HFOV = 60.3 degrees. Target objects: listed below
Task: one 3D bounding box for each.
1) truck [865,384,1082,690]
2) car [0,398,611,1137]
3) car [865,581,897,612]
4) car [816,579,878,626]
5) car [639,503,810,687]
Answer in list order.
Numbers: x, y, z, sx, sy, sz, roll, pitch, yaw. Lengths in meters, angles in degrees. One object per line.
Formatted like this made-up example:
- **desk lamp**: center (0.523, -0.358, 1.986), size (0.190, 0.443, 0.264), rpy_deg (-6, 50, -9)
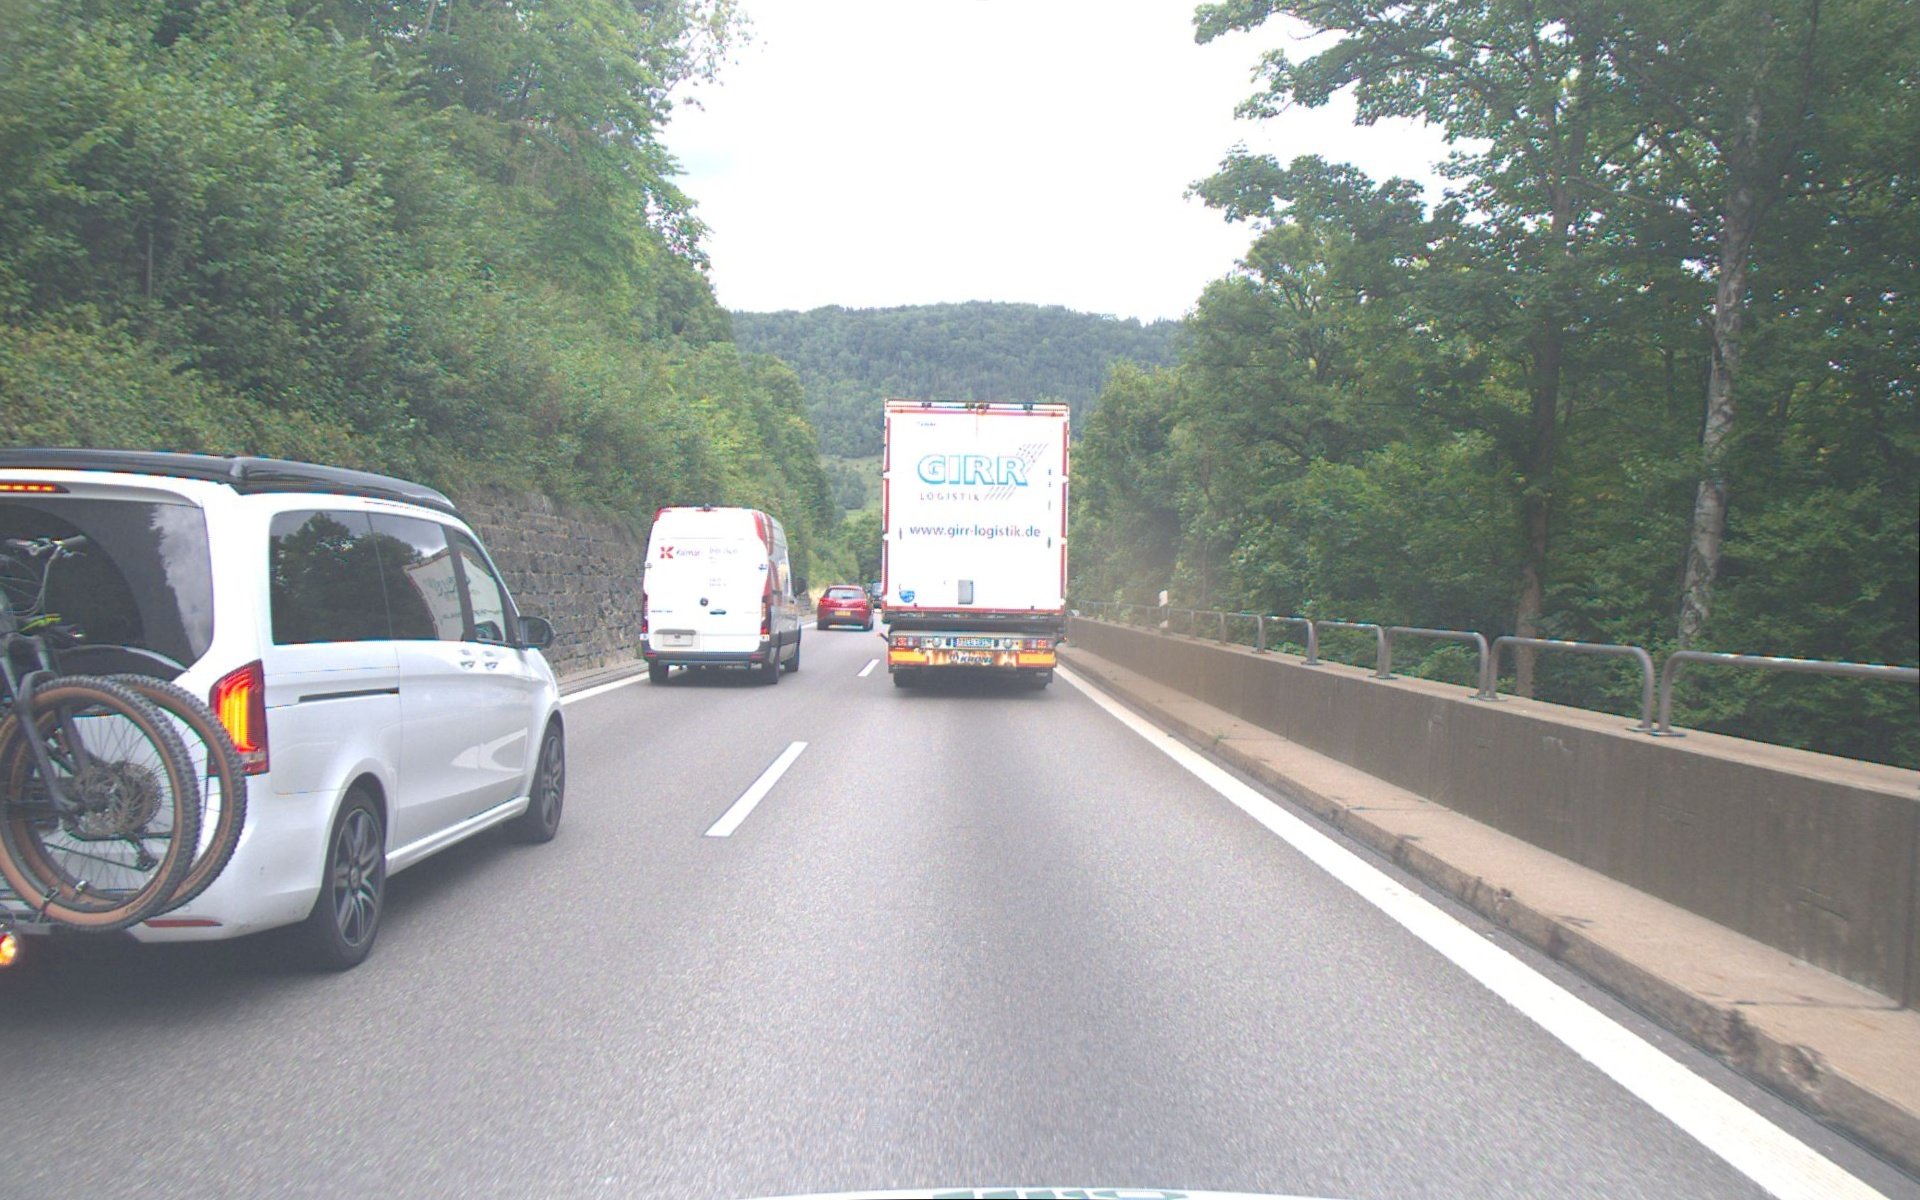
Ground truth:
- **truck**: center (0.195, -0.849, 26.413), size (2.849, 4.030, 9.279), rpy_deg (0, 0, 0)
- **car**: center (-3.187, 0.405, 7.512), size (1.953, 1.987, 6.146), rpy_deg (1, 1, -1)
- **car**: center (-4.319, -0.208, 90.787), size (1.635, 1.667, 4.067), rpy_deg (0, 0, -1)
- **car**: center (-3.681, 0.083, 54.520), size (1.730, 1.485, 4.411), rpy_deg (0, 0, 0)
- **car**: center (-3.655, -0.075, 26.819), size (1.985, 2.630, 6.273), rpy_deg (0, 0, -1)
